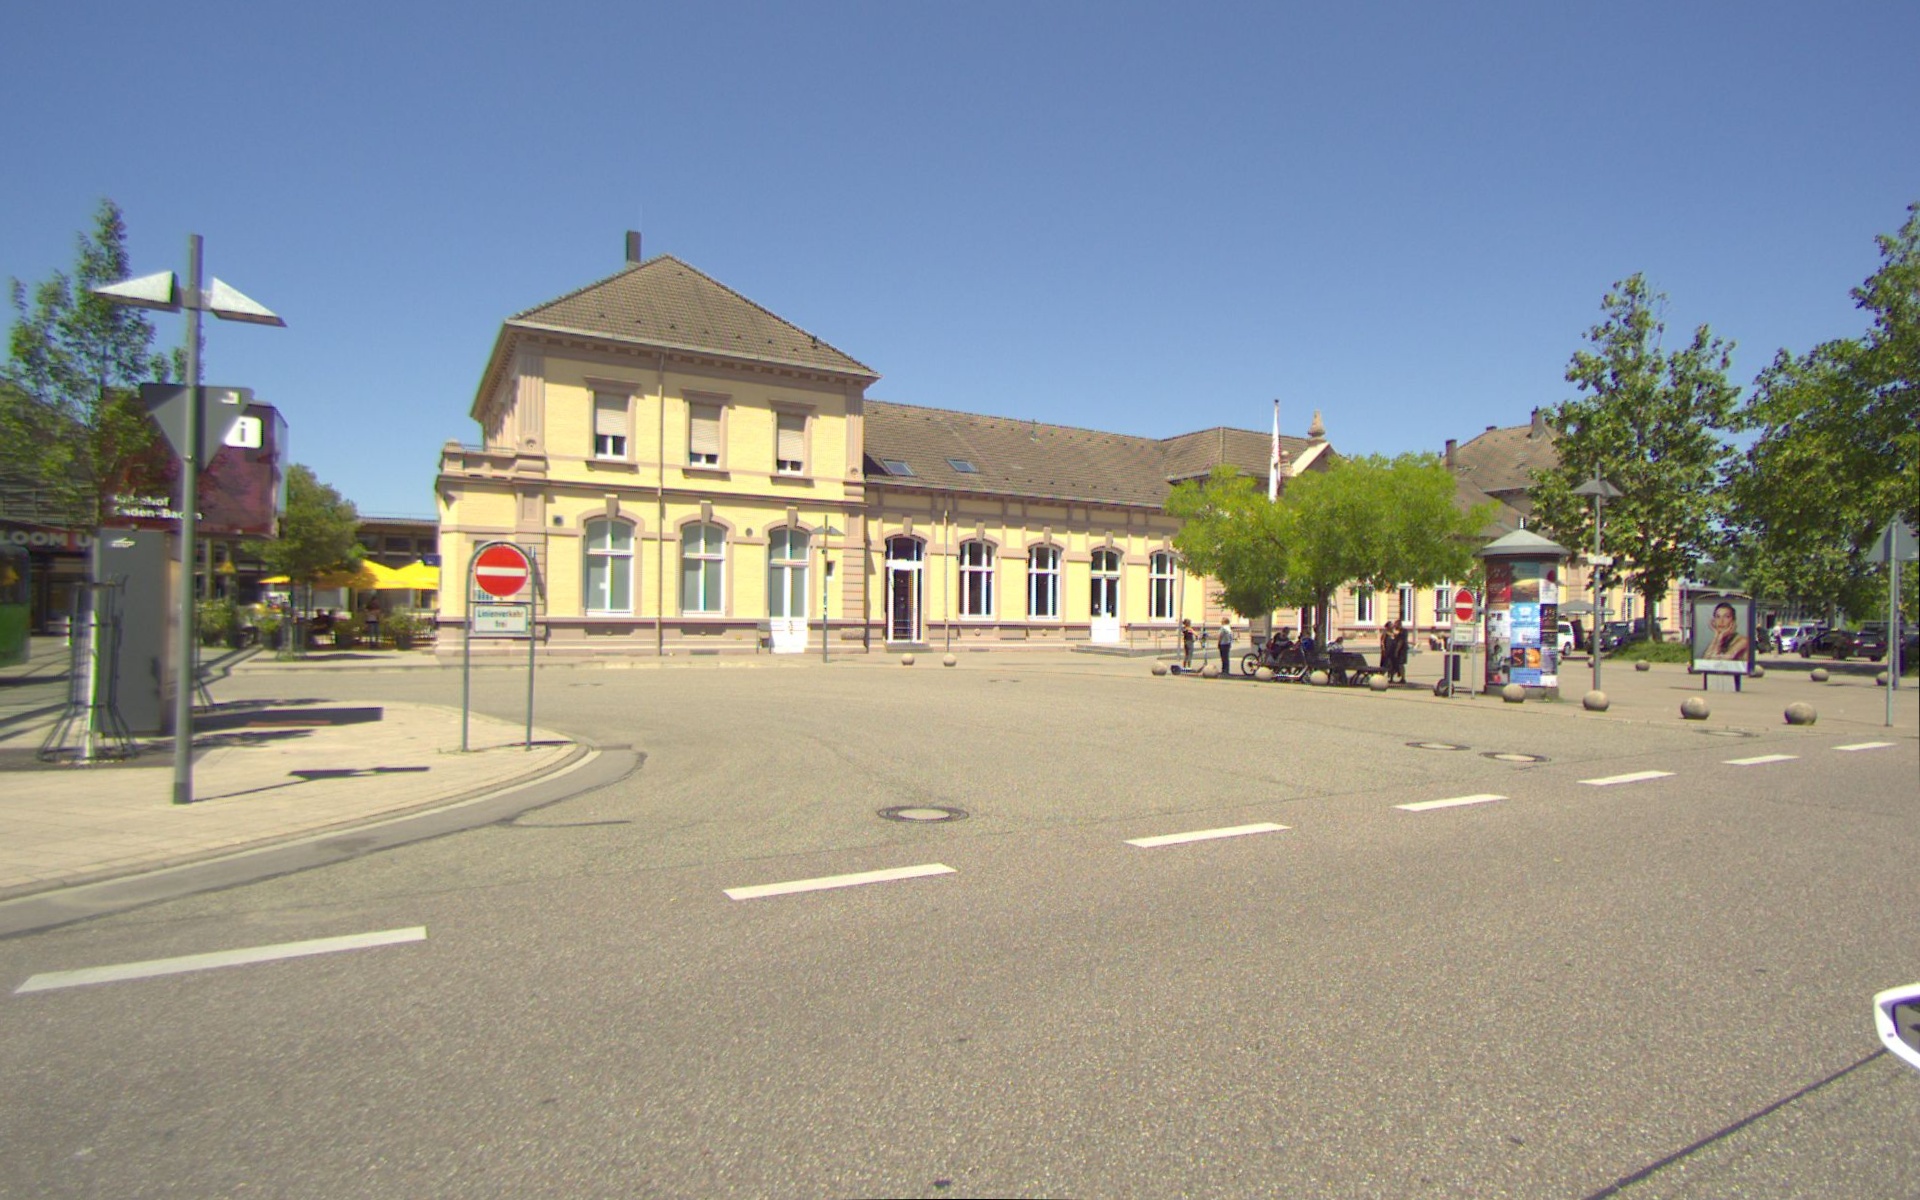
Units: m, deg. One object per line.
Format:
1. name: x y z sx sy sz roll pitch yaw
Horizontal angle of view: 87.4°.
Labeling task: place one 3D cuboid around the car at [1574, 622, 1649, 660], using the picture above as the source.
1. car: 36.085 2.265 55.621 3.953 2.040 1.984 2 -2 -30

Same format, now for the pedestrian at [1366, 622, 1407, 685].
1. pedestrian: 11.725 1.467 27.627 0.708 1.681 0.761 2 -2 -13

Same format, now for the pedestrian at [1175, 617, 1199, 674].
1. pedestrian: 6.951 1.396 30.746 0.644 1.695 0.632 2 -2 14

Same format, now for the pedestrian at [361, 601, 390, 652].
1. pedestrian: -19.991 0.909 34.370 0.771 1.708 0.659 -1 0 -37

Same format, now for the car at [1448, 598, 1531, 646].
1. car: 29.032 1.230 55.054 4.948 2.501 1.710 1 0 -31

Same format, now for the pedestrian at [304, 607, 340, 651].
1. pedestrian: -21.968 0.999 34.593 0.952 1.496 0.890 1 -1 -39

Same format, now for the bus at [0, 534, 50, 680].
1. bus: -27.568 0.067 18.796 15.317 3.077 2.857 1 -1 -28

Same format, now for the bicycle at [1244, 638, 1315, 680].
1. bicycle: 8.671 1.589 27.278 1.770 1.044 0.487 0 -1 38

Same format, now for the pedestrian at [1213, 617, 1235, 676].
1. pedestrian: 8.009 1.405 30.493 0.574 1.732 0.588 2 -2 14

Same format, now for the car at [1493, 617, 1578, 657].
1. car: 30.039 1.928 52.399 4.720 1.942 1.743 3 -2 -30
